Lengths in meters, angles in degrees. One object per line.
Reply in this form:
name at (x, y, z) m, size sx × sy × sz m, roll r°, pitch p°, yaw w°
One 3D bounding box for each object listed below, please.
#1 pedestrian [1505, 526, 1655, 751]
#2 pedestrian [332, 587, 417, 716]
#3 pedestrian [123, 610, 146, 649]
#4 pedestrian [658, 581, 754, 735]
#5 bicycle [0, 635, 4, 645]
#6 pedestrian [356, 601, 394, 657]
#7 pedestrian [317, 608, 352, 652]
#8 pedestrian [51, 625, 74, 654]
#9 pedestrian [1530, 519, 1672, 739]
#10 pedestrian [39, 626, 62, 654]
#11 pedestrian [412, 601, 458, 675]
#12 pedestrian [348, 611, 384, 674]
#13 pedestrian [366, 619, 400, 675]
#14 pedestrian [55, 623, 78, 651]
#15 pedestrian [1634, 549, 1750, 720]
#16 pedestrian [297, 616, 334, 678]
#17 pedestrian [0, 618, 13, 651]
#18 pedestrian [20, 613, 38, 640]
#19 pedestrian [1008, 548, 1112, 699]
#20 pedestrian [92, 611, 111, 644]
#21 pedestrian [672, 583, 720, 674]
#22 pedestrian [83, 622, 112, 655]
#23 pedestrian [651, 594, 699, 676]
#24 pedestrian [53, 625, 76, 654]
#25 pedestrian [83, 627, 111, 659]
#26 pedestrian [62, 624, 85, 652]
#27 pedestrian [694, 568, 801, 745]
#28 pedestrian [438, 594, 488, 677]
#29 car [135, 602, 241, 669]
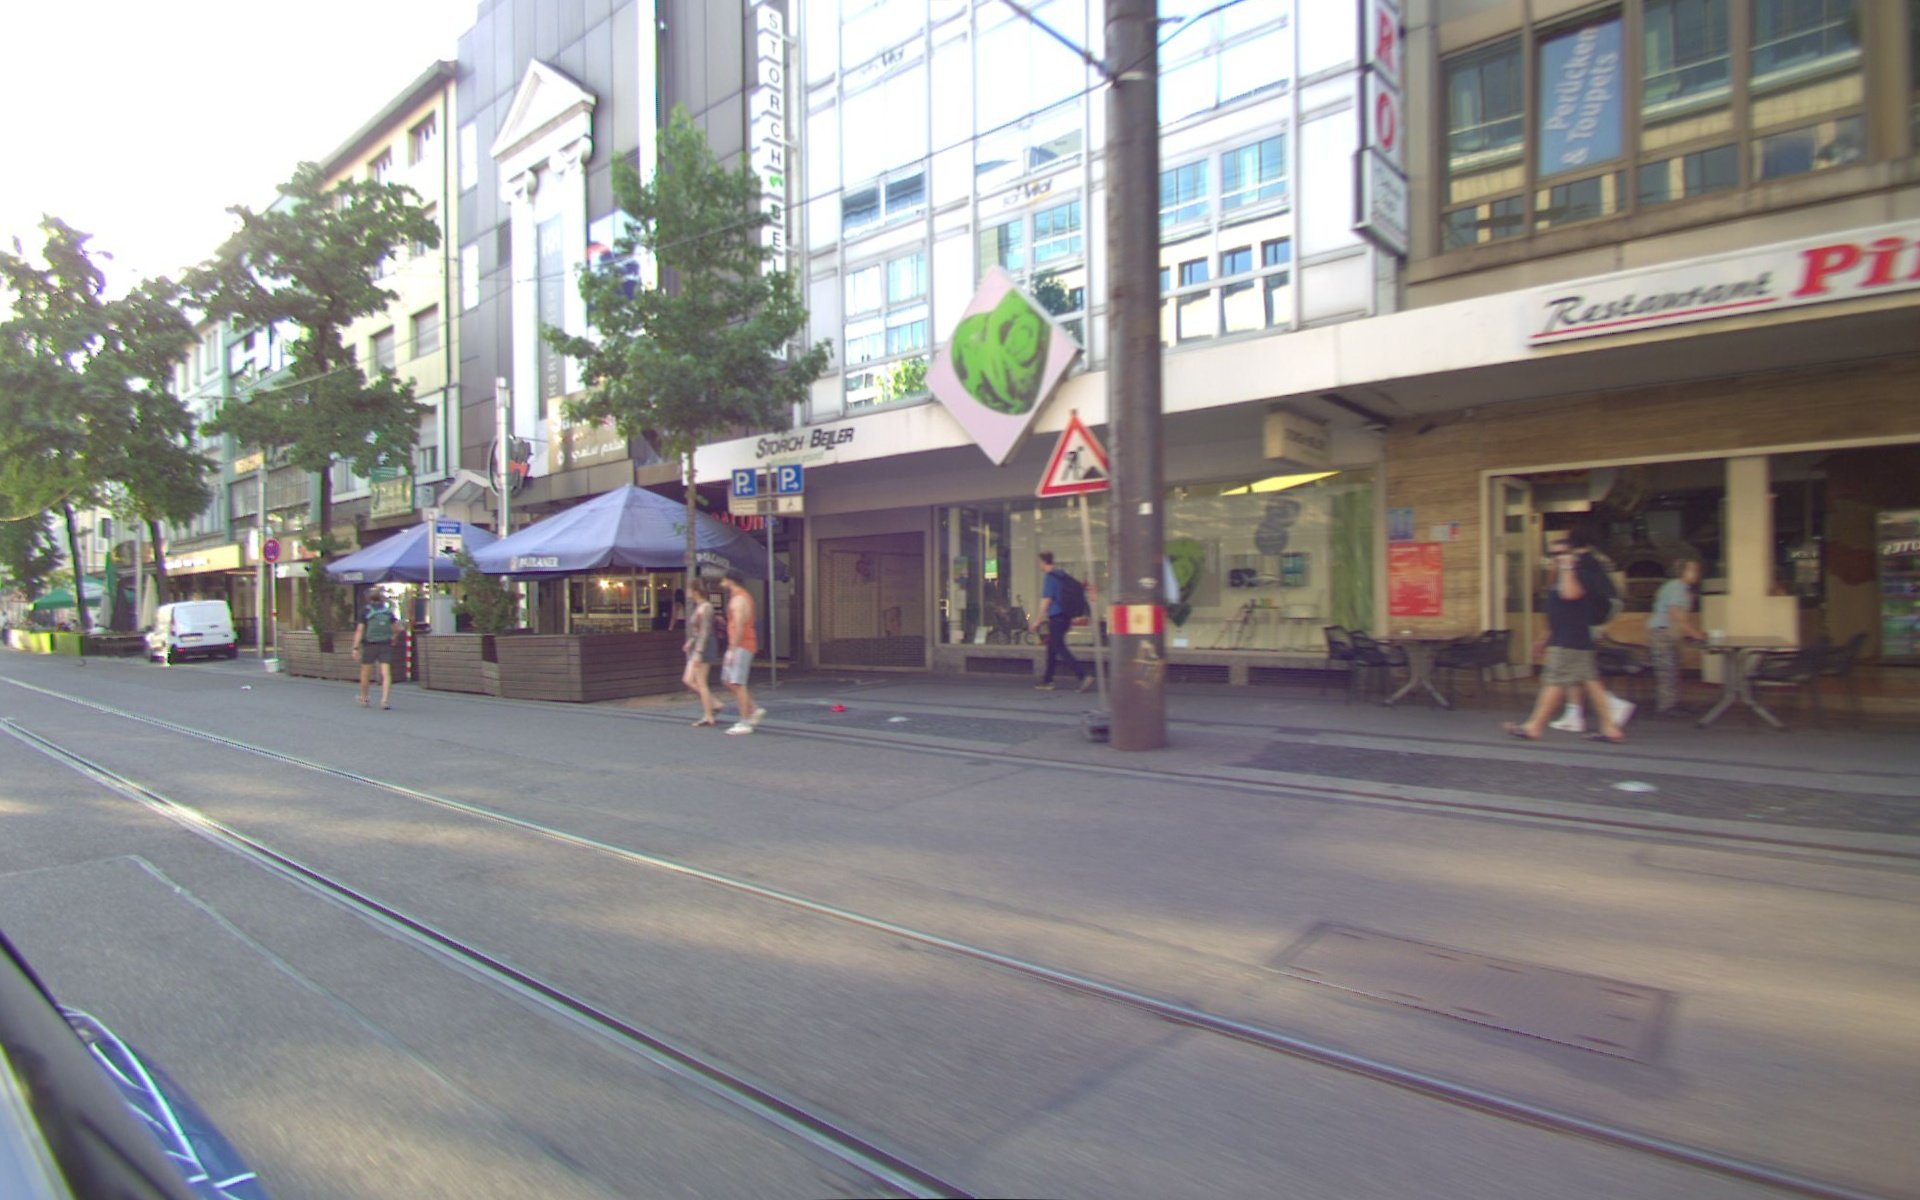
pedestrian at (5.173, 0.297, 8.451) m, size 0.933 × 1.760 × 0.616 m, roll -1°, pitch 1°, yaw 41°
pedestrian at (-8.688, 0.739, 15.032) m, size 0.790 × 1.814 × 0.832 m, roll -1°, pitch 1°, yaw 42°
pedestrian at (-38.424, 1.356, 47.111) m, size 0.697 × 1.770 × 0.670 m, roll -1°, pitch 1°, yaw 42°
pedestrian at (-2.903, 0.625, 11.548) m, size 0.837 × 1.650 × 0.764 m, roll -2°, pitch 1°, yaw -29°
bicycle at (-64.668, 2.698, 67.109) m, size 1.282 × 0.613 × 1.775 m, roll -1°, pitch 1°, yaw 44°
pedestrian at (-18.392, 0.897, 31.802) m, size 1.004 × 1.698 × 0.660 m, roll -1°, pitch 1°, yaw 40°
pedestrian at (-22.097, 1.058, 35.729) m, size 0.764 × 1.477 × 0.762 m, roll -1°, pitch 2°, yaw 38°
pedestrian at (-39.738, 1.736, 44.815) m, size 0.696 × 1.254 × 0.613 m, roll -1°, pitch 2°, yaw 40°
pedestrian at (5.633, 0.236, 8.894) m, size 0.933 × 1.817 × 0.616 m, roll -1°, pitch 1°, yaw 41°
pedestrian at (-42.751, 1.880, 47.579) m, size 0.772 × 1.269 × 0.700 m, roll -1°, pitch 1°, yaw 43°
pedestrian at (-11.932, 0.851, 23.003) m, size 0.719 × 1.619 × 0.666 m, roll -1°, pitch 0°, yaw 40°
pedestrian at (-14.011, 0.995, 23.861) m, size 0.582 × 1.440 × 0.544 m, roll -1°, pitch 0°, yaw 40°
pedestrian at (-13.088, 1.058, 22.953) m, size 0.535 × 1.237 × 0.490 m, roll -1°, pitch 0°, yaw 40°
pedestrian at (-43.819, 1.822, 49.632) m, size 0.806 × 1.321 × 0.682 m, roll -1°, pitch 1°, yaw 41°
pedestrian at (6.964, 0.308, 9.632) m, size 0.809 × 1.537 × 0.616 m, roll -1°, pitch 1°, yaw 41°
pedestrian at (-14.727, 1.068, 23.124) m, size 0.582 × 1.366 × 0.544 m, roll -1°, pitch 0°, yaw 40°
pedestrian at (-52.288, 1.892, 55.226) m, size 0.686 × 1.805 × 0.749 m, roll -1°, pitch 1°, yaw 40°
pedestrian at (-63.352, 1.792, 68.872) m, size 0.875 × 1.826 × 0.712 m, roll -1°, pitch 2°, yaw 40°
pedestrian at (1.346, 0.303, 13.615) m, size 1.070 × 1.937 × 0.793 m, roll -2°, pitch 1°, yaw 38°
pedestrian at (-48.581, 1.555, 57.305) m, size 0.675 × 1.829 × 0.766 m, roll -3°, pitch 1°, yaw -34°
pedestrian at (-5.268, 0.552, 20.170) m, size 0.671 × 1.758 × 0.591 m, roll -1°, pitch 1°, yaw 41°
pedestrian at (-36.839, 1.647, 43.231) m, size 0.872 × 1.353 × 0.747 m, roll -1°, pitch 2°, yaw 40°
pedestrian at (-5.540, 0.675, 19.664) m, size 0.671 × 1.544 × 0.591 m, roll -1°, pitch 1°, yaw 41°
pedestrian at (-40.414, 1.760, 45.657) m, size 0.696 × 1.254 × 0.613 m, roll -1°, pitch 2°, yaw 40°
pedestrian at (-34.416, 1.713, 40.350) m, size 0.797 × 1.202 × 0.650 m, roll -1°, pitch 2°, yaw 40°
pedestrian at (-42.159, 1.785, 48.152) m, size 0.869 × 1.269 × 0.700 m, roll -1°, pitch 1°, yaw 43°
pedestrian at (-2.259, 0.564, 10.740) m, size 0.838 × 1.754 × 0.837 m, roll -2°, pitch 1°, yaw -29°
pedestrian at (-10.662, 0.751, 21.699) m, size 0.675 × 1.737 × 0.710 m, roll -1°, pitch 0°, yaw 40°
car at (-24.419, 1.076, 31.963) m, size 4.552 × 1.878 × 1.777 m, roll -1°, pitch 2°, yaw 42°
